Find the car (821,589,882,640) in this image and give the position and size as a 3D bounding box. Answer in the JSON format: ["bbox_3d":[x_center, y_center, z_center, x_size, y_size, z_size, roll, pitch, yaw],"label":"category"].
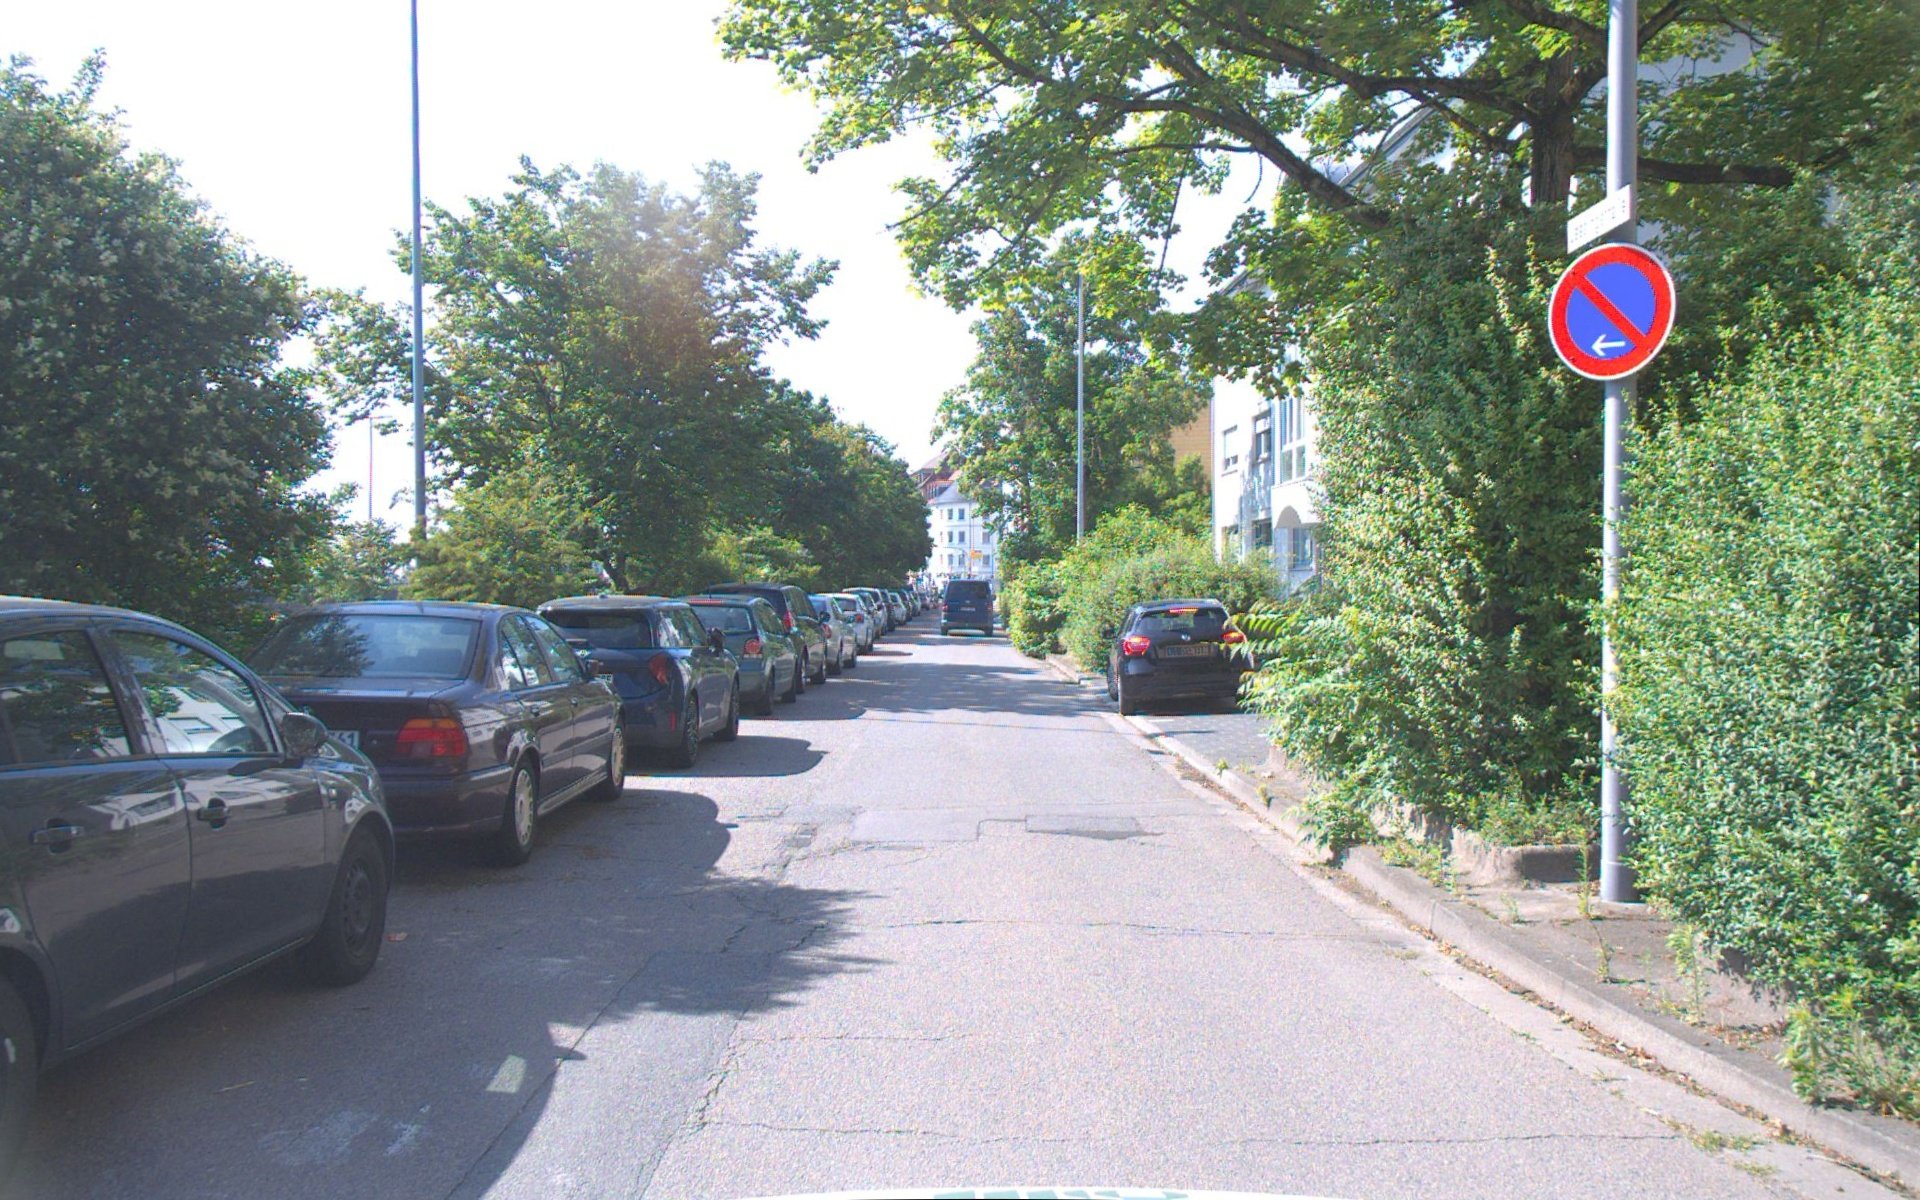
[{"bbox_3d":[-3.399,0.424,52.208,1.629,1.536,4.201,0,0,0],"label":"car"}]

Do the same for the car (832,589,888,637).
[{"bbox_3d":[-3.481,0.424,58.051,1.630,1.536,4.008,2,0,0],"label":"car"}]

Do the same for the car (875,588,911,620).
[{"bbox_3d":[-3.416,0.195,85.325,1.630,1.536,4.008,2,0,0],"label":"car"}]

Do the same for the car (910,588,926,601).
[{"bbox_3d":[-5.236,-0.684,205.374,1.953,1.686,3.740,0,0,-1],"label":"car"}]

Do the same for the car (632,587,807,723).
[{"bbox_3d":[-3.011,0.629,21.390,1.630,1.538,3.789,2,0,0],"label":"car"}]

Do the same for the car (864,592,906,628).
[{"bbox_3d":[-3.368,0.426,74.575,1.630,1.536,4.008,2,0,0],"label":"car"}]

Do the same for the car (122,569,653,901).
[{"bbox_3d":[-3.195,0.631,10.287,1.630,1.538,4.594,2,0,0],"label":"car"}]

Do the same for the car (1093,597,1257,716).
[{"bbox_3d":[2.841,0.702,22.649,1.691,1.445,4.000,-1,0,0],"label":"car"}]

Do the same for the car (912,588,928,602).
[{"bbox_3d":[-4.850,-0.634,201.041,1.953,1.686,3.740,0,0,-1],"label":"car"}]

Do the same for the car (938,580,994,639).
[{"bbox_3d":[0.224,0.309,58.794,1.844,1.955,4.008,2,0,0],"label":"car"}]

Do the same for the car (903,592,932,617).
[{"bbox_3d":[-2.609,0.247,102.048,1.629,1.536,4.008,0,0,0],"label":"car"}]

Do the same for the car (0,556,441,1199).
[{"bbox_3d":[-3.038,0.643,5.106,1.629,1.500,3.876,0,0,0],"label":"car"}]

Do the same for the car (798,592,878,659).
[{"bbox_3d":[-3.009,0.600,41.507,1.630,1.494,4.201,2,0,0],"label":"car"}]

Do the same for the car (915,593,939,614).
[{"bbox_3d":[-2.708,0.259,137.458,1.953,1.686,3.999,0,0,-1],"label":"car"}]

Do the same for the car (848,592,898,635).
[{"bbox_3d":[-3.298,0.495,63.325,1.630,1.536,4.008,2,0,0],"label":"car"}]

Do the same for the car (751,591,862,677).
[{"bbox_3d":[-2.842,0.588,31.380,1.630,1.431,4.319,2,0,0],"label":"car"}]

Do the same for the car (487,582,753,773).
[{"bbox_3d":[-3.024,0.620,15.451,1.630,1.499,3.789,2,0,0],"label":"car"}]

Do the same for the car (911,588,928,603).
[{"bbox_3d":[-4.741,-0.502,192.319,1.953,1.686,3.999,0,0,-1],"label":"car"}]

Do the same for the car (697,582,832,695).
[{"bbox_3d":[-3.003,0.541,26.048,1.629,1.611,3.932,0,1,0],"label":"car"}]

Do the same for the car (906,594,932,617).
[{"bbox_3d":[-3.139,0.424,127.653,1.953,1.686,3.999,0,0,-1],"label":"car"}]

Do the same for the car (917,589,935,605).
[{"bbox_3d":[-3.658,-0.359,180.306,1.953,1.686,3.999,0,0,-1],"label":"car"}]
